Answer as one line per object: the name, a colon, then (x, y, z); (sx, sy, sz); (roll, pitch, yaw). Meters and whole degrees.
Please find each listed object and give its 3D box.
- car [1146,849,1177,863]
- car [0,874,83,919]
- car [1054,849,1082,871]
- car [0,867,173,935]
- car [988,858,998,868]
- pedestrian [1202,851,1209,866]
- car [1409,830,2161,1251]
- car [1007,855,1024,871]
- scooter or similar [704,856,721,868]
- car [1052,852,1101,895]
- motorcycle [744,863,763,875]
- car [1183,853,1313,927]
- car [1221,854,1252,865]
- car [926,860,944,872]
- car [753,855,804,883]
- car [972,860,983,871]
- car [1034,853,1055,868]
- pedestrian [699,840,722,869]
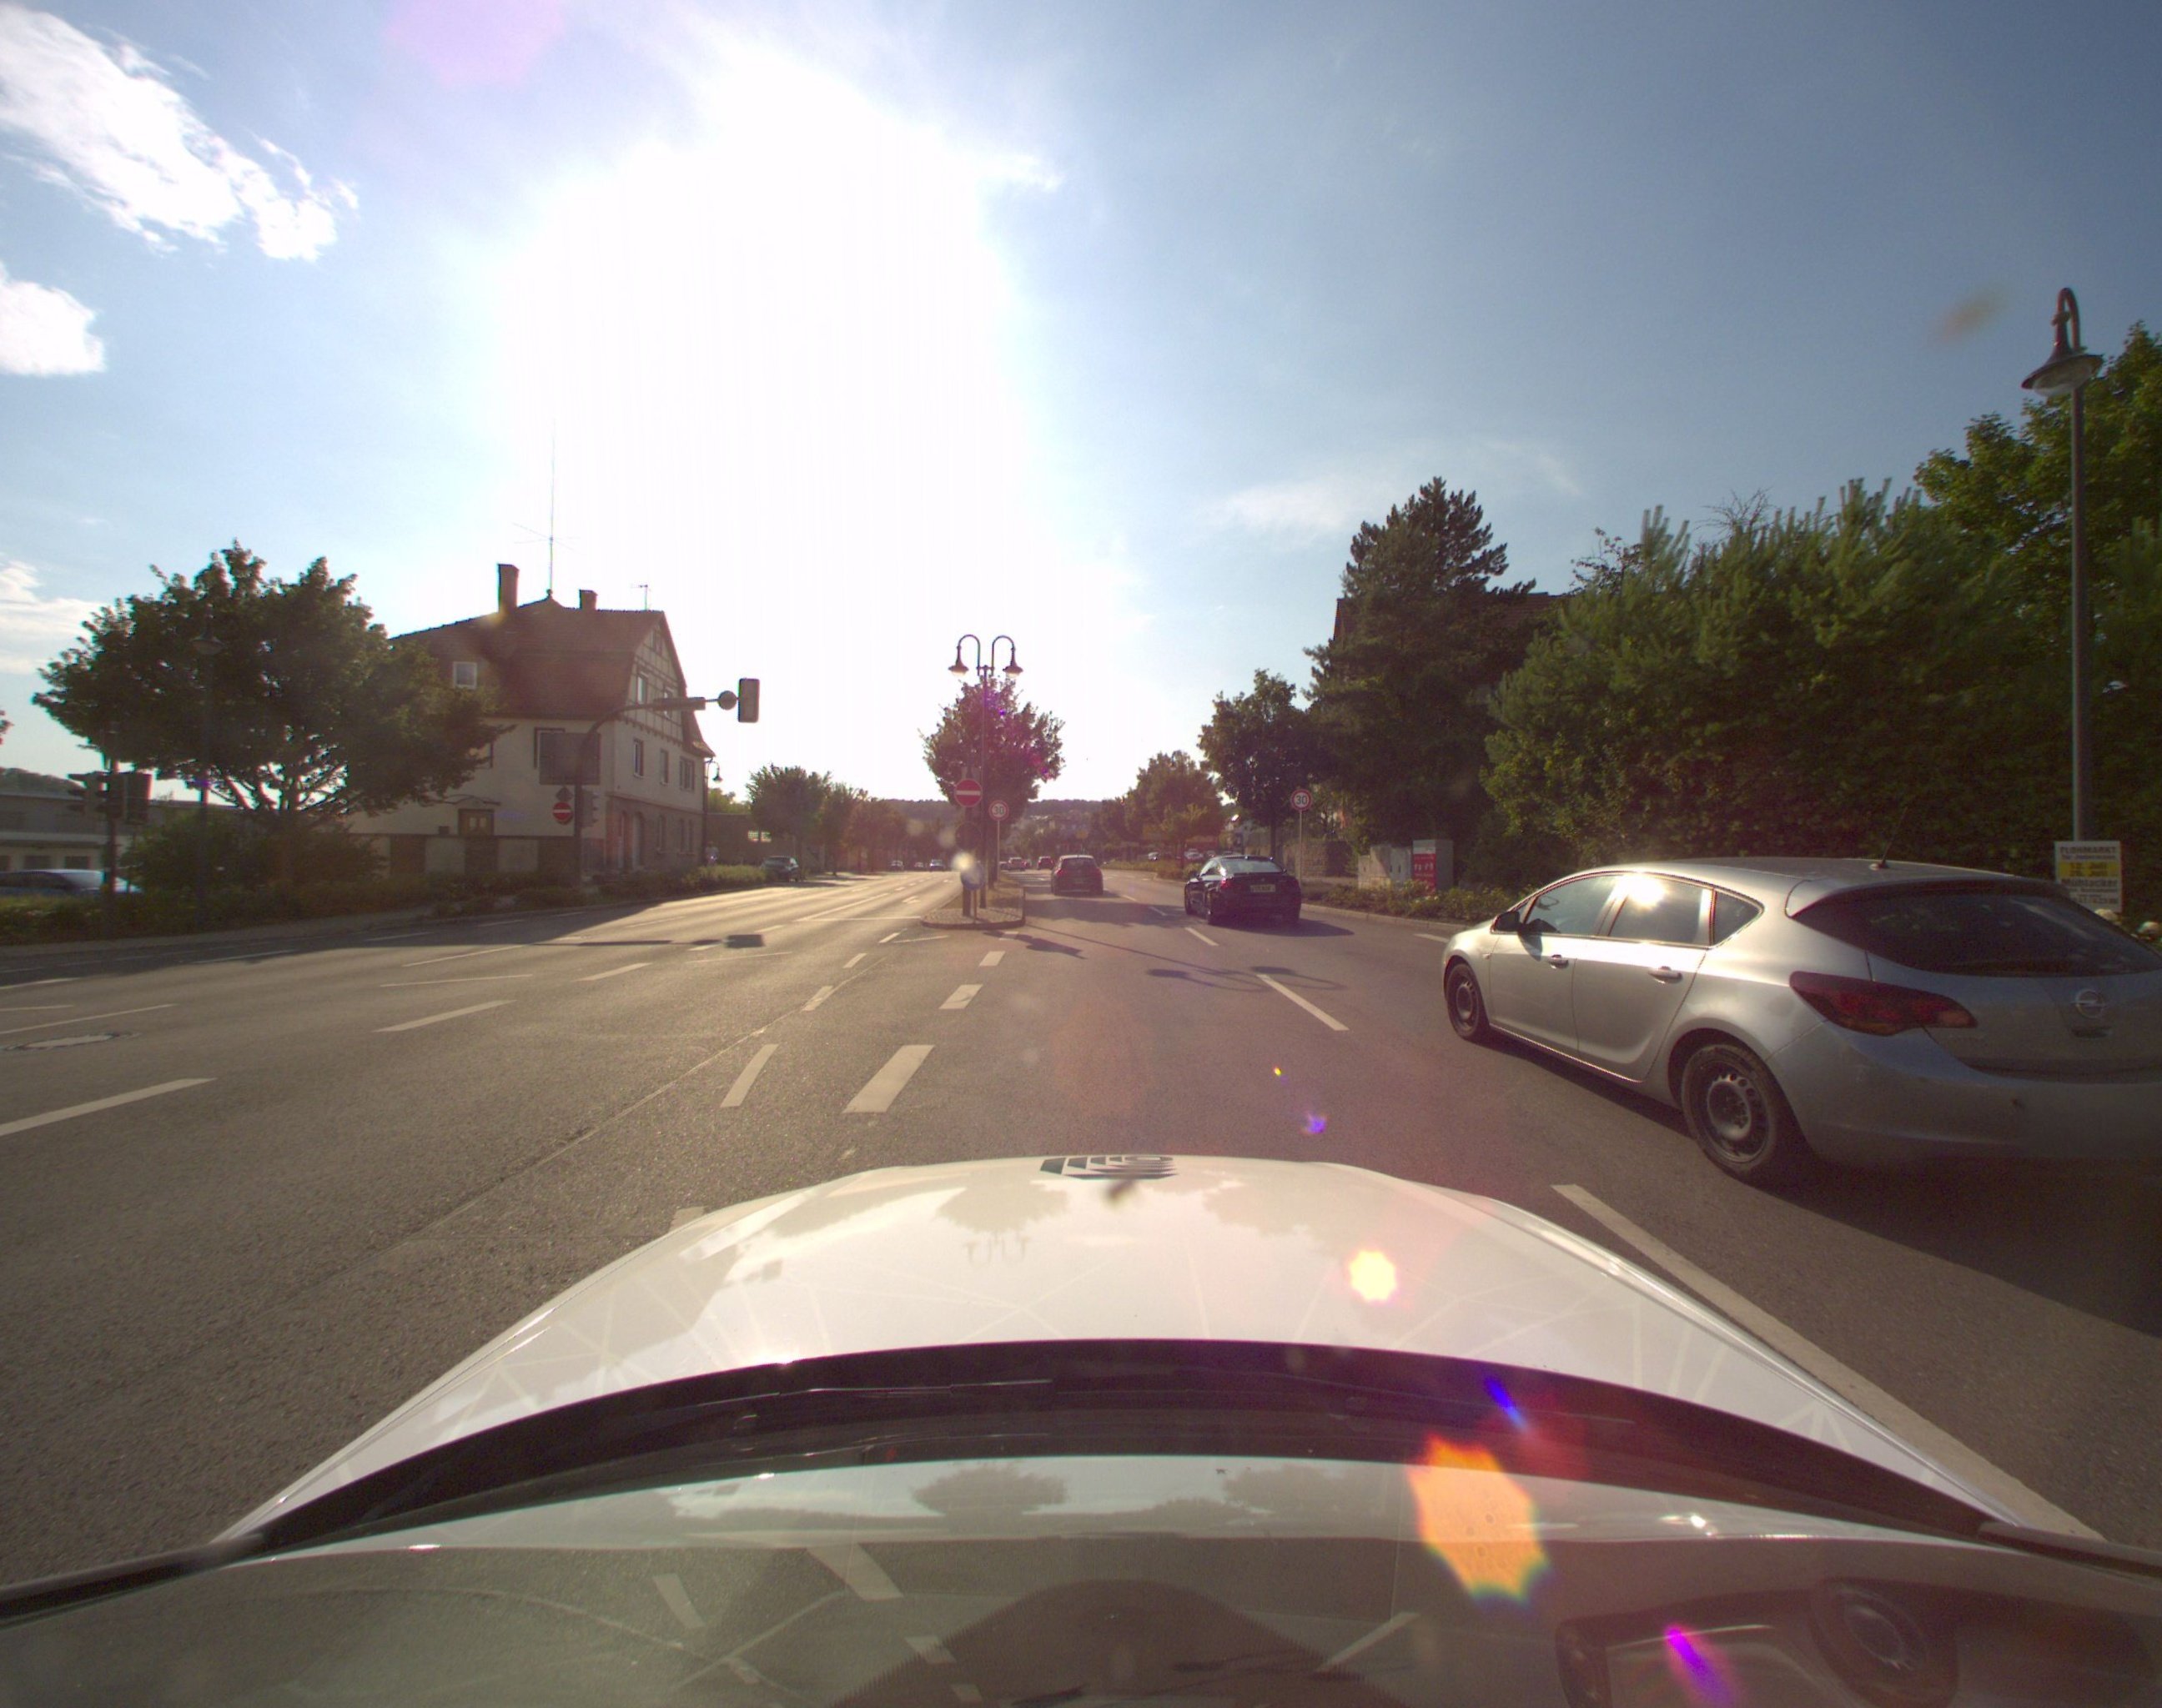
car: (12.428, 0.336, 125.641); (2.119, 2.130, 5.156); (-1, 0, 42)
car: (-36.126, 1.430, 26.864); (3.913, 1.400, 1.745); (-1, 0, -6)
car: (-1.165, 0.490, 68.785); (1.923, 1.769, 4.443); (-1, 0, -7)
car: (-26.462, 1.201, 21.253); (3.285, 1.639, 1.743); (-1, 0, -9)
car: (-17.566, 1.730, 163.237); (1.768, 2.013, 3.996); (-1, 0, -2)
pedestrian: (14.435, 0.493, 94.690); (0.693, 1.703, 0.950); (-1, 0, 2)
car: (3.772, 0.646, 5.092); (1.715, 1.490, 4.306); (-1, 0, 0)
car: (-7.434, 1.044, 92.634); (1.754, 1.769, 3.961); (-1, 0, -7)
scooter or similar: (-17.954, 0.388, 39.705); (0.443, 0.582, 1.041); (-1, 0, -8)
car: (-0.142, 0.694, 30.641); (1.715, 1.490, 4.353); (0, 0, 0)
motorcycle: (-28.716, 1.286, 71.422); (0.511, 1.005, 1.551); (-1, 0, 24)
car: (3.431, 0.693, 17.592); (1.914, 1.364, 4.352); (-1, 0, 0)
car: (25.621, 0.917, 134.490); (4.630, 1.829, 1.993); (-1, 0, -10)
car: (-16.705, 1.363, 93.384); (1.754, 1.361, 4.473); (-1, 0, -7)
car: (-17.686, 0.860, 47.762); (1.754, 1.454, 4.123); (3, -1, -6)
car: (-16.872, 1.856, 132.944); (1.727, 1.679, 3.993); (-1, 0, -5)
car: (-4.417, 0.751, 98.712); (2.215, 1.769, 4.443); (-1, 0, -7)
pedestrian: (-18.460, 0.026, 40.593); (0.812, 1.394, 0.705); (-1, 0, -8)
